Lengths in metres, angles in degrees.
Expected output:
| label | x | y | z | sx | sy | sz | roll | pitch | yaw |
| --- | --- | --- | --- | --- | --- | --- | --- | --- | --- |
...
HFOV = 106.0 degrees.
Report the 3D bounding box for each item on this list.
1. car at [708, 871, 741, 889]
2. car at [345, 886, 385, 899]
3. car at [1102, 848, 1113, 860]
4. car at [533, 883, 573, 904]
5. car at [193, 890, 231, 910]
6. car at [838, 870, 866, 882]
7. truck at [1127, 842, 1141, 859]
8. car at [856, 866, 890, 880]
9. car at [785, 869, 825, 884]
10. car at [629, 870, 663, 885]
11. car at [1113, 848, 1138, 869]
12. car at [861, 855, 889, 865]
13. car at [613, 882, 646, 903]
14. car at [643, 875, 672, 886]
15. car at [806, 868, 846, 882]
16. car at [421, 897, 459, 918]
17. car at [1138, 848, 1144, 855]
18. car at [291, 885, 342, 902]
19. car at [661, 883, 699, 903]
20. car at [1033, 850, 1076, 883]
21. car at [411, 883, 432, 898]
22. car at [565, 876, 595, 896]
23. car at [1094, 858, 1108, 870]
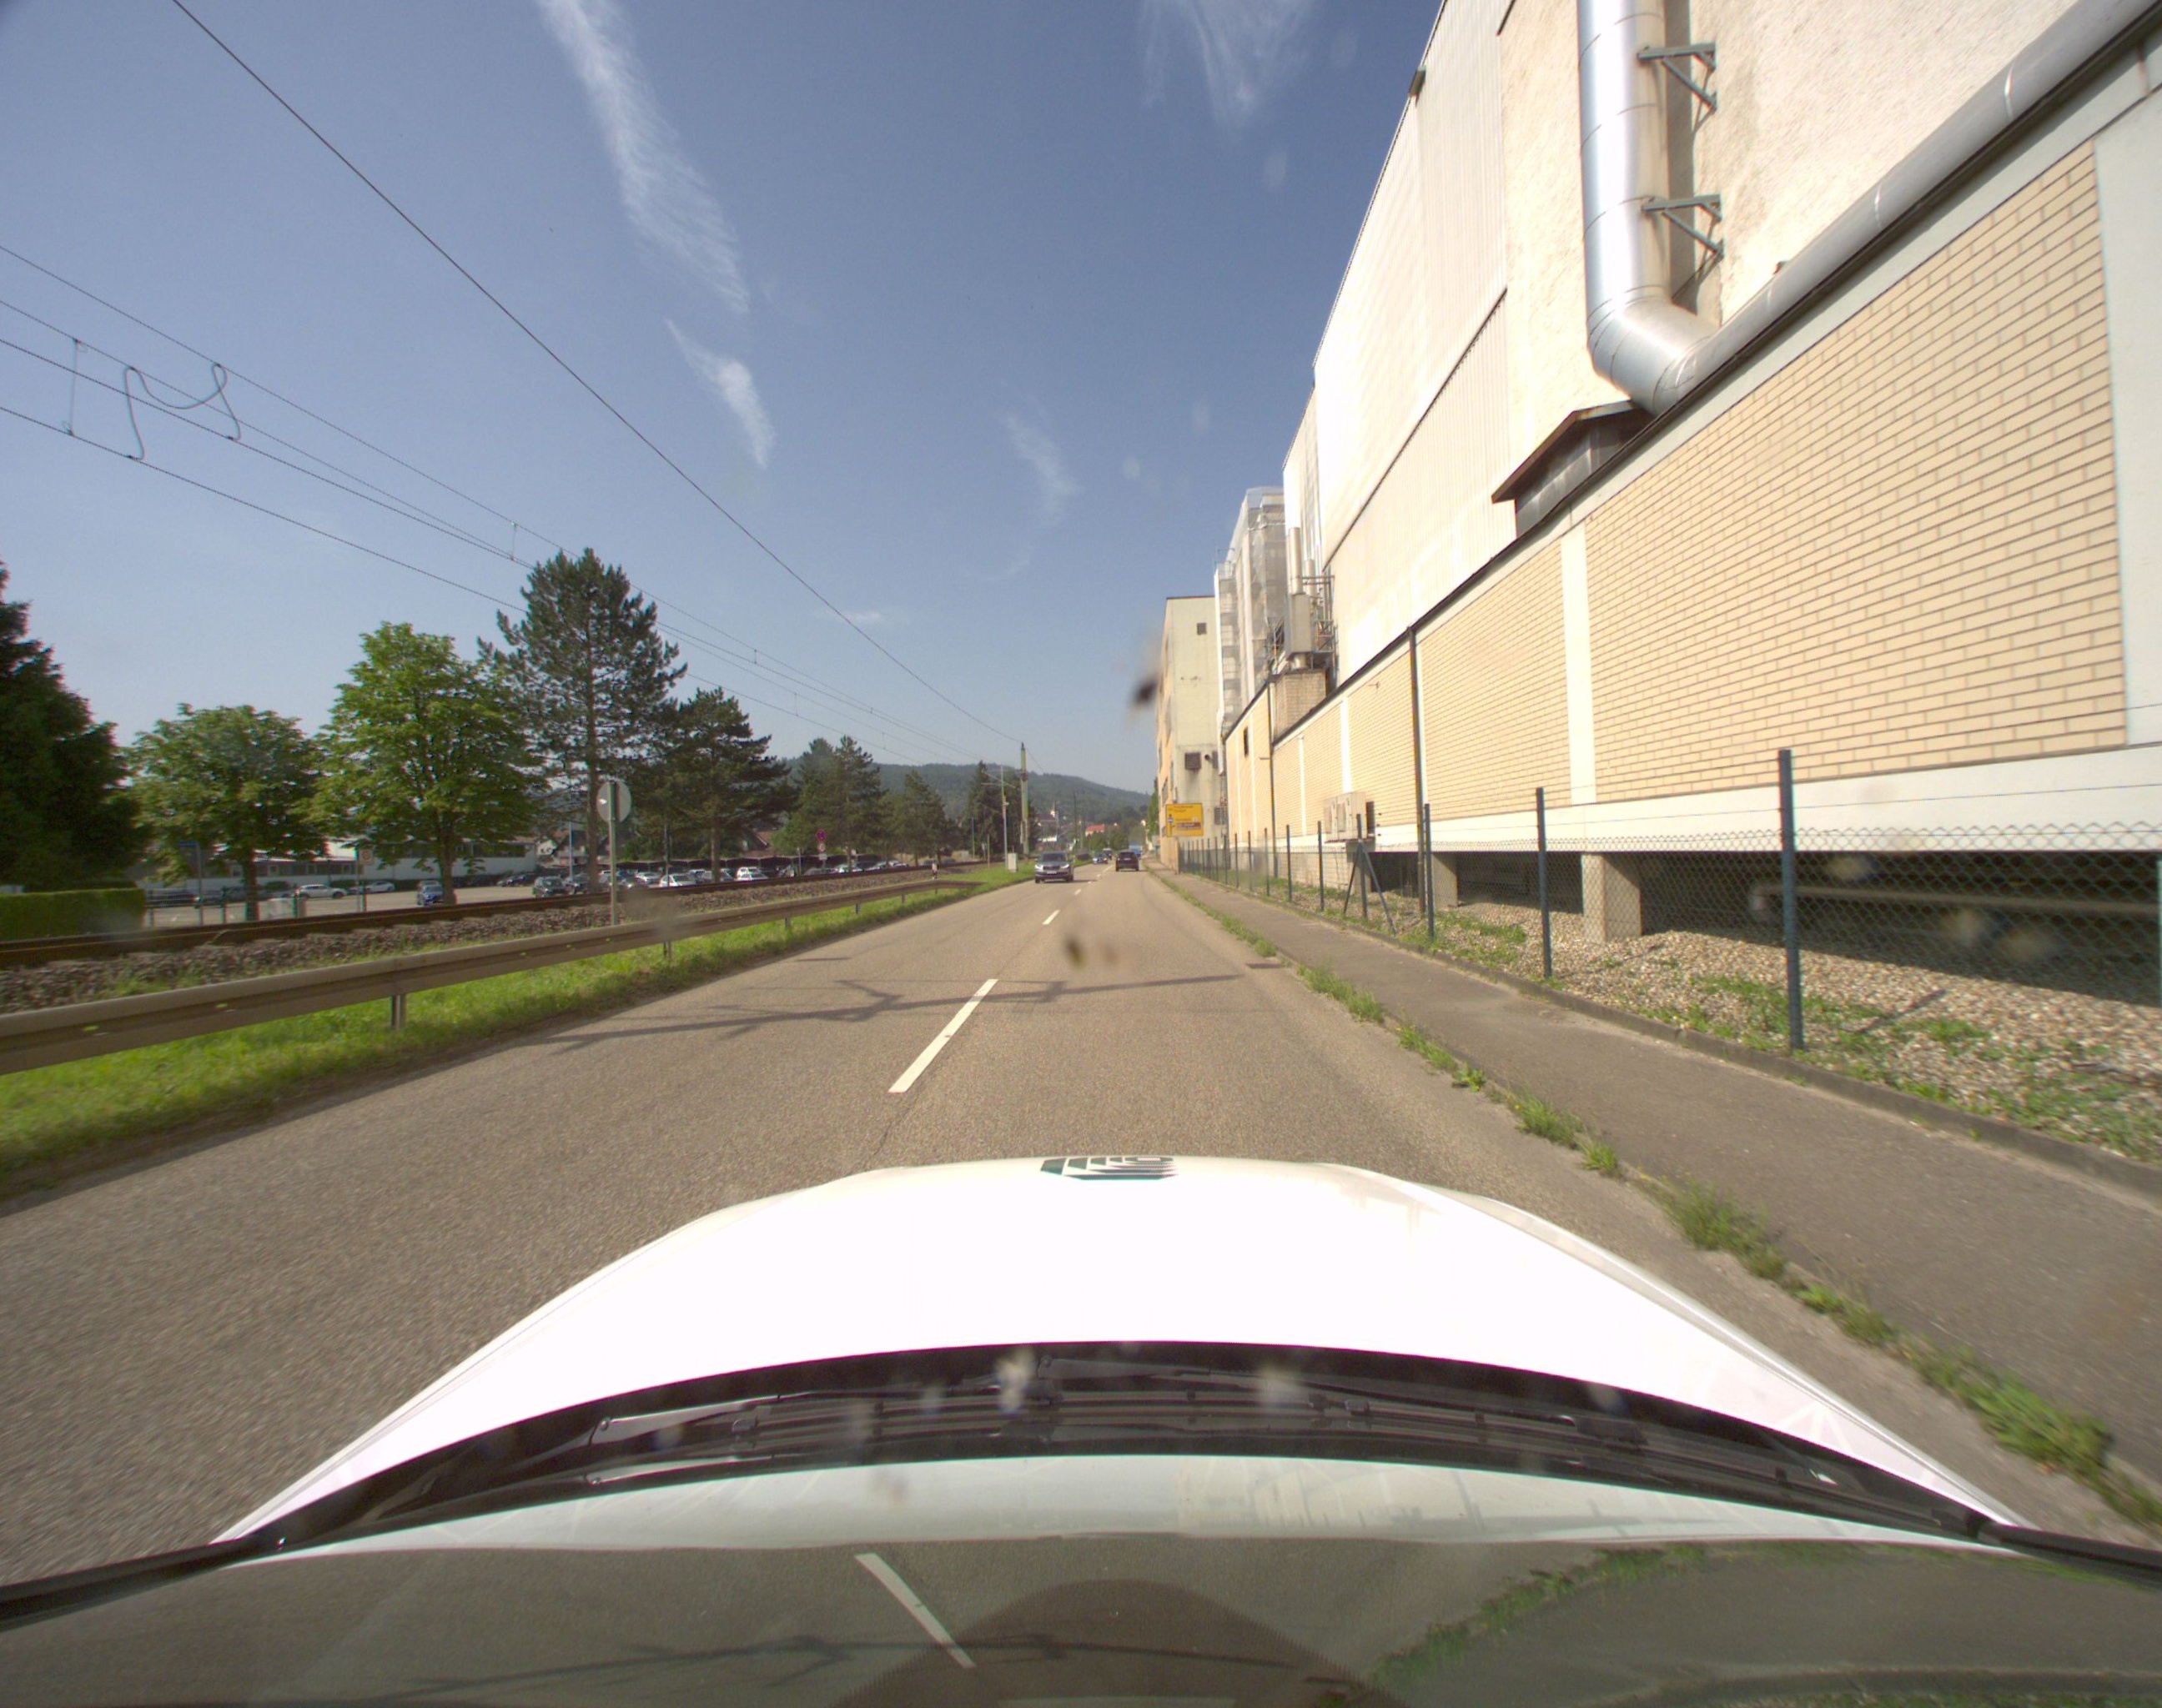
| label | x | y | z | sx | sy | sz | roll | pitch | yaw |
| --- | --- | --- | --- | --- | --- | --- | --- | --- | --- |
| car | -32.598 | 2.390 | 74.388 | 1.697 | 1.506 | 3.807 | -2 | 0 | -40 |
| car | -84.327 | 4.479 | 95.959 | 1.447 | 1.325 | 3.539 | -3 | 0 | 2 |
| car | 4.810 | 0.037 | 147.723 | 1.750 | 2.078 | 4.814 | -1 | 0 | 5 |
| car | -40.354 | 3.007 | 62.204 | 3.804 | 1.406 | 1.698 | -3 | 0 | 44 |
| car | -76.293 | 4.014 | 71.552 | 1.574 | 1.523 | 3.498 | -2 | 0 | -36 |
| car | -28.162 | 2.671 | 100.060 | 3.491 | 1.325 | 1.467 | -3 | 0 | 36 |
| truck | 9.683 | -0.580 | 149.715 | 2.304 | 2.970 | 5.968 | -2 | 0 | 2 |
| car | -27.339 | 2.477 | 107.102 | 4.012 | 1.640 | 1.981 | -2 | 0 | -29 |
| car | -28.475 | 2.352 | 84.006 | 3.541 | 1.357 | 1.501 | -2 | 0 | -43 |
| car | -52.004 | 2.789 | 97.255 | 3.948 | 1.640 | 2.013 | -2 | 0 | 36 |
| car | 3.680 | 0.365 | 66.245 | 1.911 | 1.640 | 4.005 | -2 | 0 | 4 |
| car | -32.346 | 0.961 | 127.796 | 3.981 | 1.536 | 1.815 | -1 | 0 | -5 |
| car | -39.533 | 3.352 | 71.273 | 1.697 | 1.642 | 3.807 | -2 | 0 | -40 |
| car | -54.348 | 3.425 | 104.493 | 3.493 | 1.325 | 1.466 | -3 | 0 | 24 |
| car | -27.595 | 2.268 | 88.301 | 1.545 | 1.325 | 3.881 | -3 | 0 | 42 |
| car | -45.991 | 3.792 | 58.417 | 1.698 | 1.332 | 3.805 | -2 | 0 | -44 |
| car | 16.417 | -0.627 | 222.519 | 1.659 | 1.823 | 3.756 | -2 | 0 | 5 |
| car | -78.525 | 4.068 | 83.658 | 1.546 | 1.523 | 3.560 | -3 | 0 | 36 |
| car | -31.176 | 2.997 | 63.302 | 1.697 | 1.443 | 3.807 | -2 | 0 | -40 |
| car | -1.343 | 0.653 | 43.567 | 1.899 | 1.600 | 4.573 | -2 | 0 | 3 |
| car | -75.544 | 4.187 | 93.240 | 1.576 | 1.523 | 3.493 | -2 | 0 | -44 |
| car | -45.479 | 2.921 | 73.858 | 1.697 | 1.642 | 3.807 | -2 | 0 | -40 |
| car | 2.668 | 1.269 | 107.014 | 1.761 | 1.405 | 4.299 | -3 | 0 | 2 |
